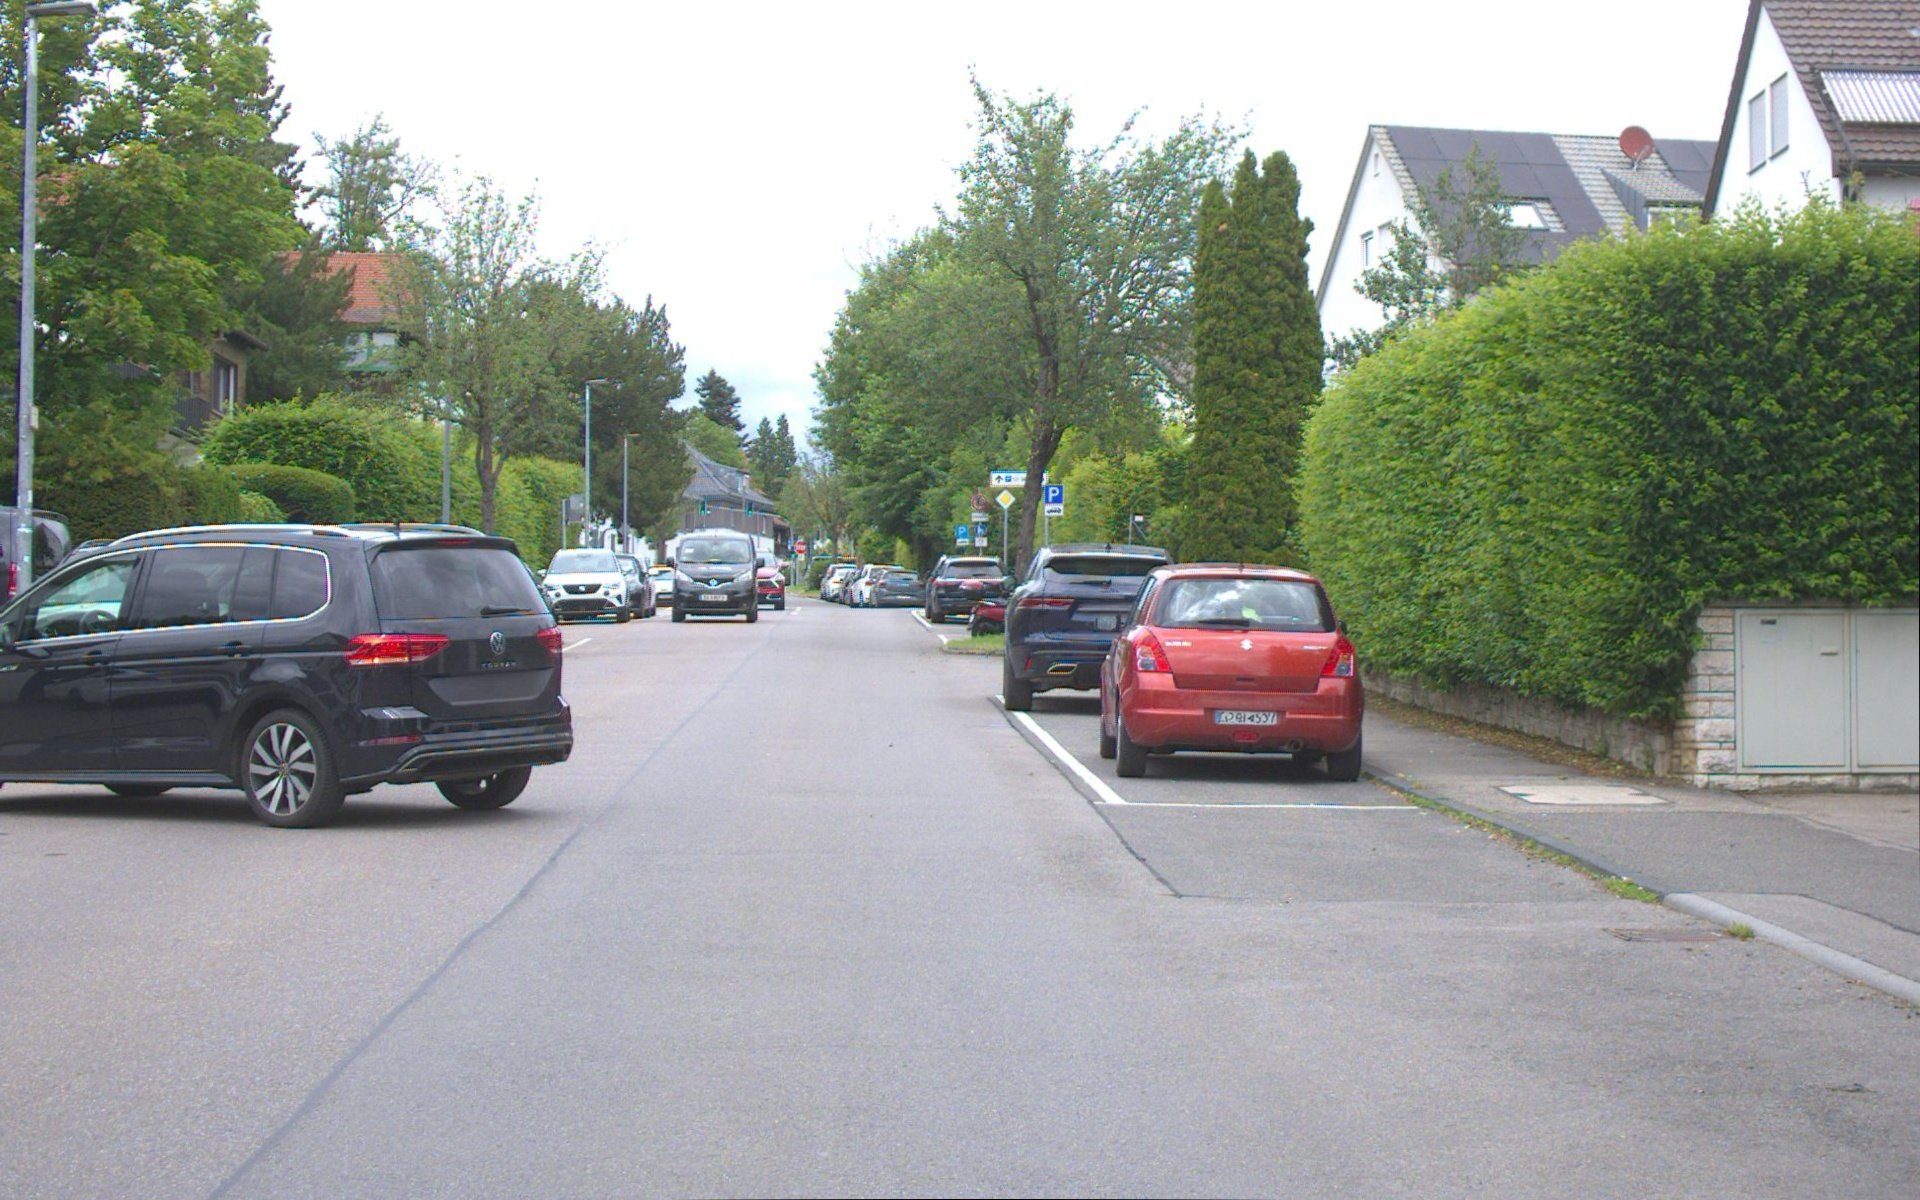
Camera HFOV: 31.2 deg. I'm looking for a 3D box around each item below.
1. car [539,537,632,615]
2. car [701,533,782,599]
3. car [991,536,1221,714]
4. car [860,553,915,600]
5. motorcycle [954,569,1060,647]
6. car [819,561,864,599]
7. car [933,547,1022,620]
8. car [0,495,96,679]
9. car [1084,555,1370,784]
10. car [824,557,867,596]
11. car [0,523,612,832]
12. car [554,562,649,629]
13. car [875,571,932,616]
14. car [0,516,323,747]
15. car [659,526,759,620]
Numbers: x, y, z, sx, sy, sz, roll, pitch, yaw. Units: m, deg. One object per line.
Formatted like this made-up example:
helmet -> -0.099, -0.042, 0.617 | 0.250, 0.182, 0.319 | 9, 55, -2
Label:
car -> -7.618, -0.512, 70.187 | 1.722, 1.535, 4.001 | -1, 1, -4
car -> -5.751, -0.909, 90.959 | 1.941, 1.641, 4.258 | -1, 1, -2
car -> 1.403, 0.214, 34.855 | 1.993, 1.612, 4.513 | 2, 0, -1
car -> -2.644, -0.857, 125.087 | 1.713, 1.652, 3.623 | 1, 1, -6
motorcycle -> 0.828, 0.129, 59.678 | 1.863, 1.342, 0.599 | 0, 1, -37
car -> -4.999, -0.853, 145.082 | 1.664, 1.495, 3.468 | 1, 1, -6
car -> 0.367, -0.392, 77.244 | 1.882, 1.528, 4.475 | 2, 1, -1
car -> -11.731, -0.144, 37.390 | 4.073, 1.943, 1.999 | 0, -1, 7
car -> 1.857, 0.443, 24.889 | 1.661, 1.503, 3.759 | 0, 1, -2
car -> -5.068, -1.031, 152.056 | 1.664, 1.662, 3.468 | 1, 1, -6
car -> -4.287, 0.376, 19.908 | 4.305, 1.606, 1.850 | 1, 1, 33
car -> -7.897, -0.080, 75.989 | 1.762, 1.383, 4.000 | -2, 0, -2
car -> -1.998, -0.245, 120.504 | 1.664, 1.495, 3.468 | 1, 1, -6
car -> -6.378, 0.197, 27.363 | 1.837, 1.660, 4.408 | -1, 1, -1
car -> -5.101, -0.567, 70.250 | 1.885, 1.844, 4.402 | 0, 1, -2
